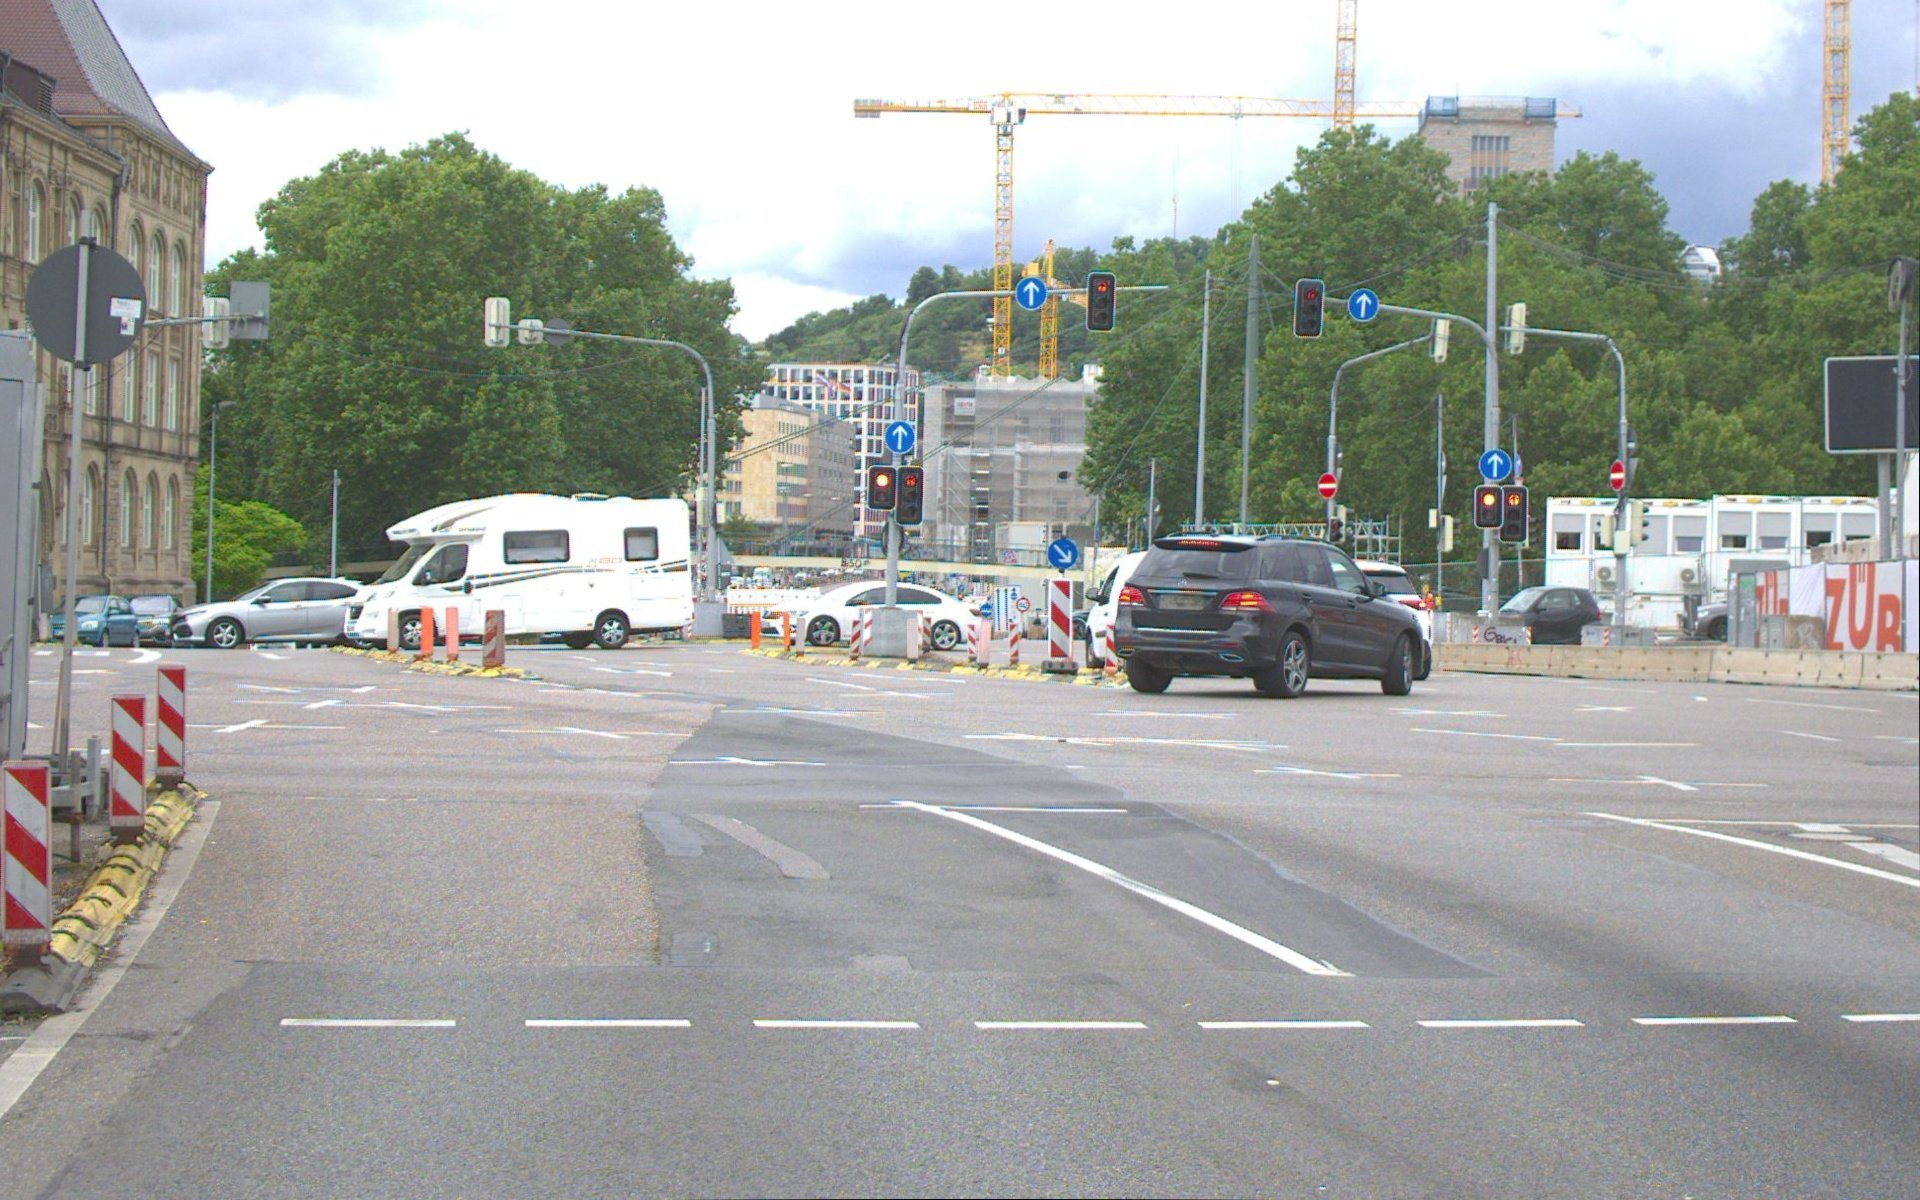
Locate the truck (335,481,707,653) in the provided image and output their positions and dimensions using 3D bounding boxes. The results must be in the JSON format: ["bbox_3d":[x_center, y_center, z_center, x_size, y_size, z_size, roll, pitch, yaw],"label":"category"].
[{"bbox_3d":[-8.333,-0.599,65.324,6.580,3.135,2.368,1,0,-23],"label":"truck"}]

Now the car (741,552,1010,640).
[{"bbox_3d":[-1.772,-0.088,72.096,5.168,1.779,2.165,1,1,-23],"label":"car"}]

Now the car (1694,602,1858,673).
[{"bbox_3d":[20.897,0.941,88.196,3.989,1.722,1.999,1,0,12],"label":"car"}]

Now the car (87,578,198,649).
[{"bbox_3d":[-22.205,0.350,93.502,1.993,1.831,4.000,1,1,1],"label":"car"}]

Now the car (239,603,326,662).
[{"bbox_3d":[-22.162,1.038,112.641,1.993,1.831,4.000,1,1,1],"label":"car"}]

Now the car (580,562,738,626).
[{"bbox_3d":[-8.205,-0.177,93.958,3.988,1.656,2.000,1,0,6],"label":"car"}]

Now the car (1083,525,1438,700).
[{"bbox_3d":[3.403,0.115,38.286,1.998,1.828,4.248,1,1,36],"label":"car"}]

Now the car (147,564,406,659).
[{"bbox_3d":[-13.258,0.221,66.716,4.564,1.769,2.000,1,1,-25],"label":"car"}]

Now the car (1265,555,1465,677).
[{"bbox_3d":[6.121,0.213,52.501,1.993,1.753,4.506,1,1,-7],"label":"car"}]

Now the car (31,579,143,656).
[{"bbox_3d":[-21.987,0.420,86.720,1.993,1.831,4.001,1,1,-3],"label":"car"}]

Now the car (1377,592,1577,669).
[{"bbox_3d":[11.689,0.692,77.787,3.986,1.678,2.001,1,1,-18],"label":"car"}]

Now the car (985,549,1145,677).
[{"bbox_3d":[1.530,0.165,51.840,1.863,1.827,4.723,1,1,-5],"label":"car"}]

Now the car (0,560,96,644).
[{"bbox_3d":[-20.950,0.021,77.727,1.993,1.831,4.001,1,1,-3],"label":"car"}]
